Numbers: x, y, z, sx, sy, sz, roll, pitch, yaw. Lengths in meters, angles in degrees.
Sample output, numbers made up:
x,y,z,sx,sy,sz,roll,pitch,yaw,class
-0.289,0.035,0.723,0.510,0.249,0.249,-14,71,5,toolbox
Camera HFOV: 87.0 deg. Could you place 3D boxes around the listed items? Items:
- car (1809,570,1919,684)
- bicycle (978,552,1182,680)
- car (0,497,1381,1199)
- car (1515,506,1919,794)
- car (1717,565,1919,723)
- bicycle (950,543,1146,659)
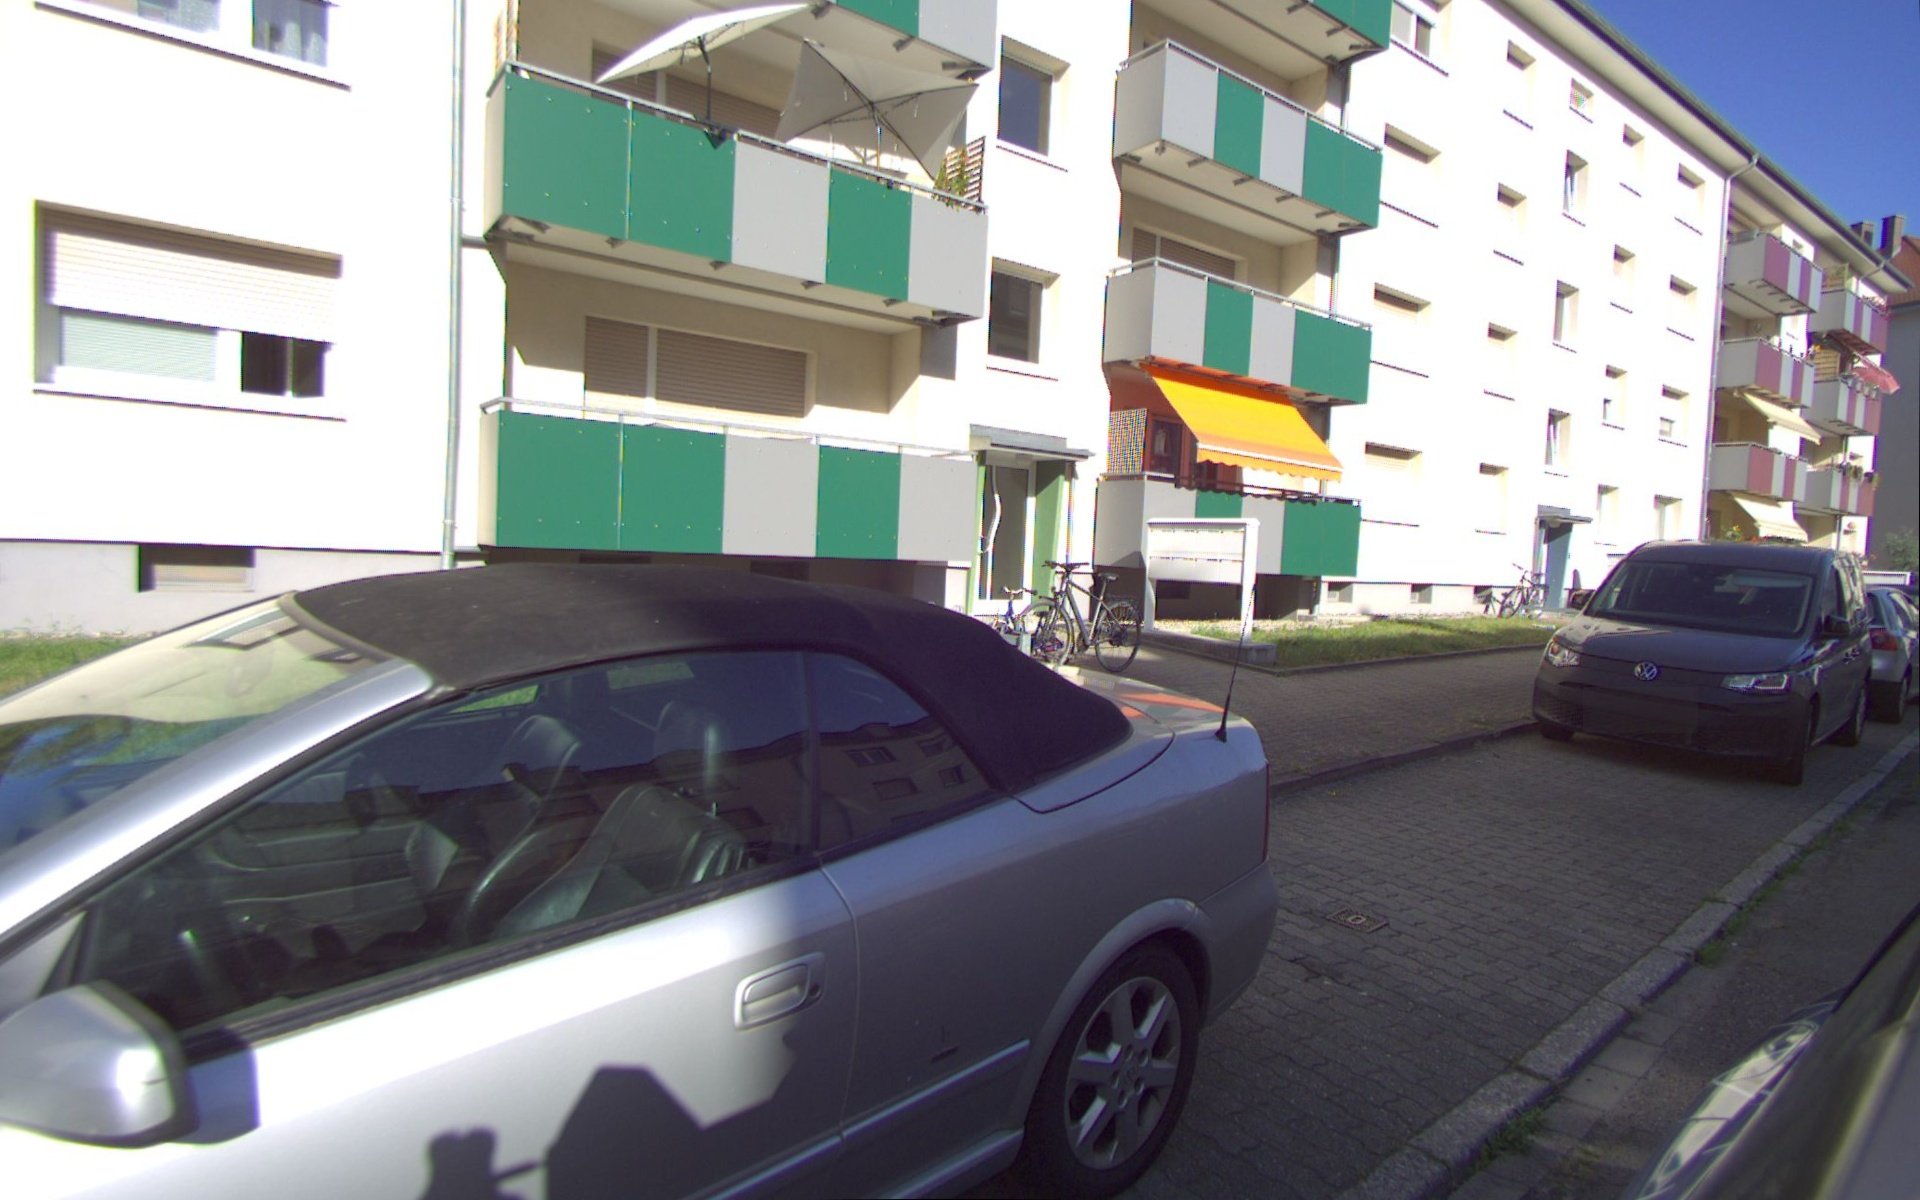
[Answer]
x,y,z,sx,sy,sz,roll,pitch,yaw,class
14.404,0.371,15.240,3.790,1.466,1.669,0,6,-39,car
1.162,0.118,9.514,2.034,1.106,0.507,0,2,-33,bicycle
-0.973,0.561,2.137,4.241,1.423,1.745,-1,6,-43,car
6.853,0.256,8.934,4.834,1.861,1.763,-1,6,-41,car
10.646,0.414,12.021,3.790,1.476,1.645,0,6,-39,car
0.900,-0.010,10.004,2.034,1.057,0.507,0,2,-33,bicycle
